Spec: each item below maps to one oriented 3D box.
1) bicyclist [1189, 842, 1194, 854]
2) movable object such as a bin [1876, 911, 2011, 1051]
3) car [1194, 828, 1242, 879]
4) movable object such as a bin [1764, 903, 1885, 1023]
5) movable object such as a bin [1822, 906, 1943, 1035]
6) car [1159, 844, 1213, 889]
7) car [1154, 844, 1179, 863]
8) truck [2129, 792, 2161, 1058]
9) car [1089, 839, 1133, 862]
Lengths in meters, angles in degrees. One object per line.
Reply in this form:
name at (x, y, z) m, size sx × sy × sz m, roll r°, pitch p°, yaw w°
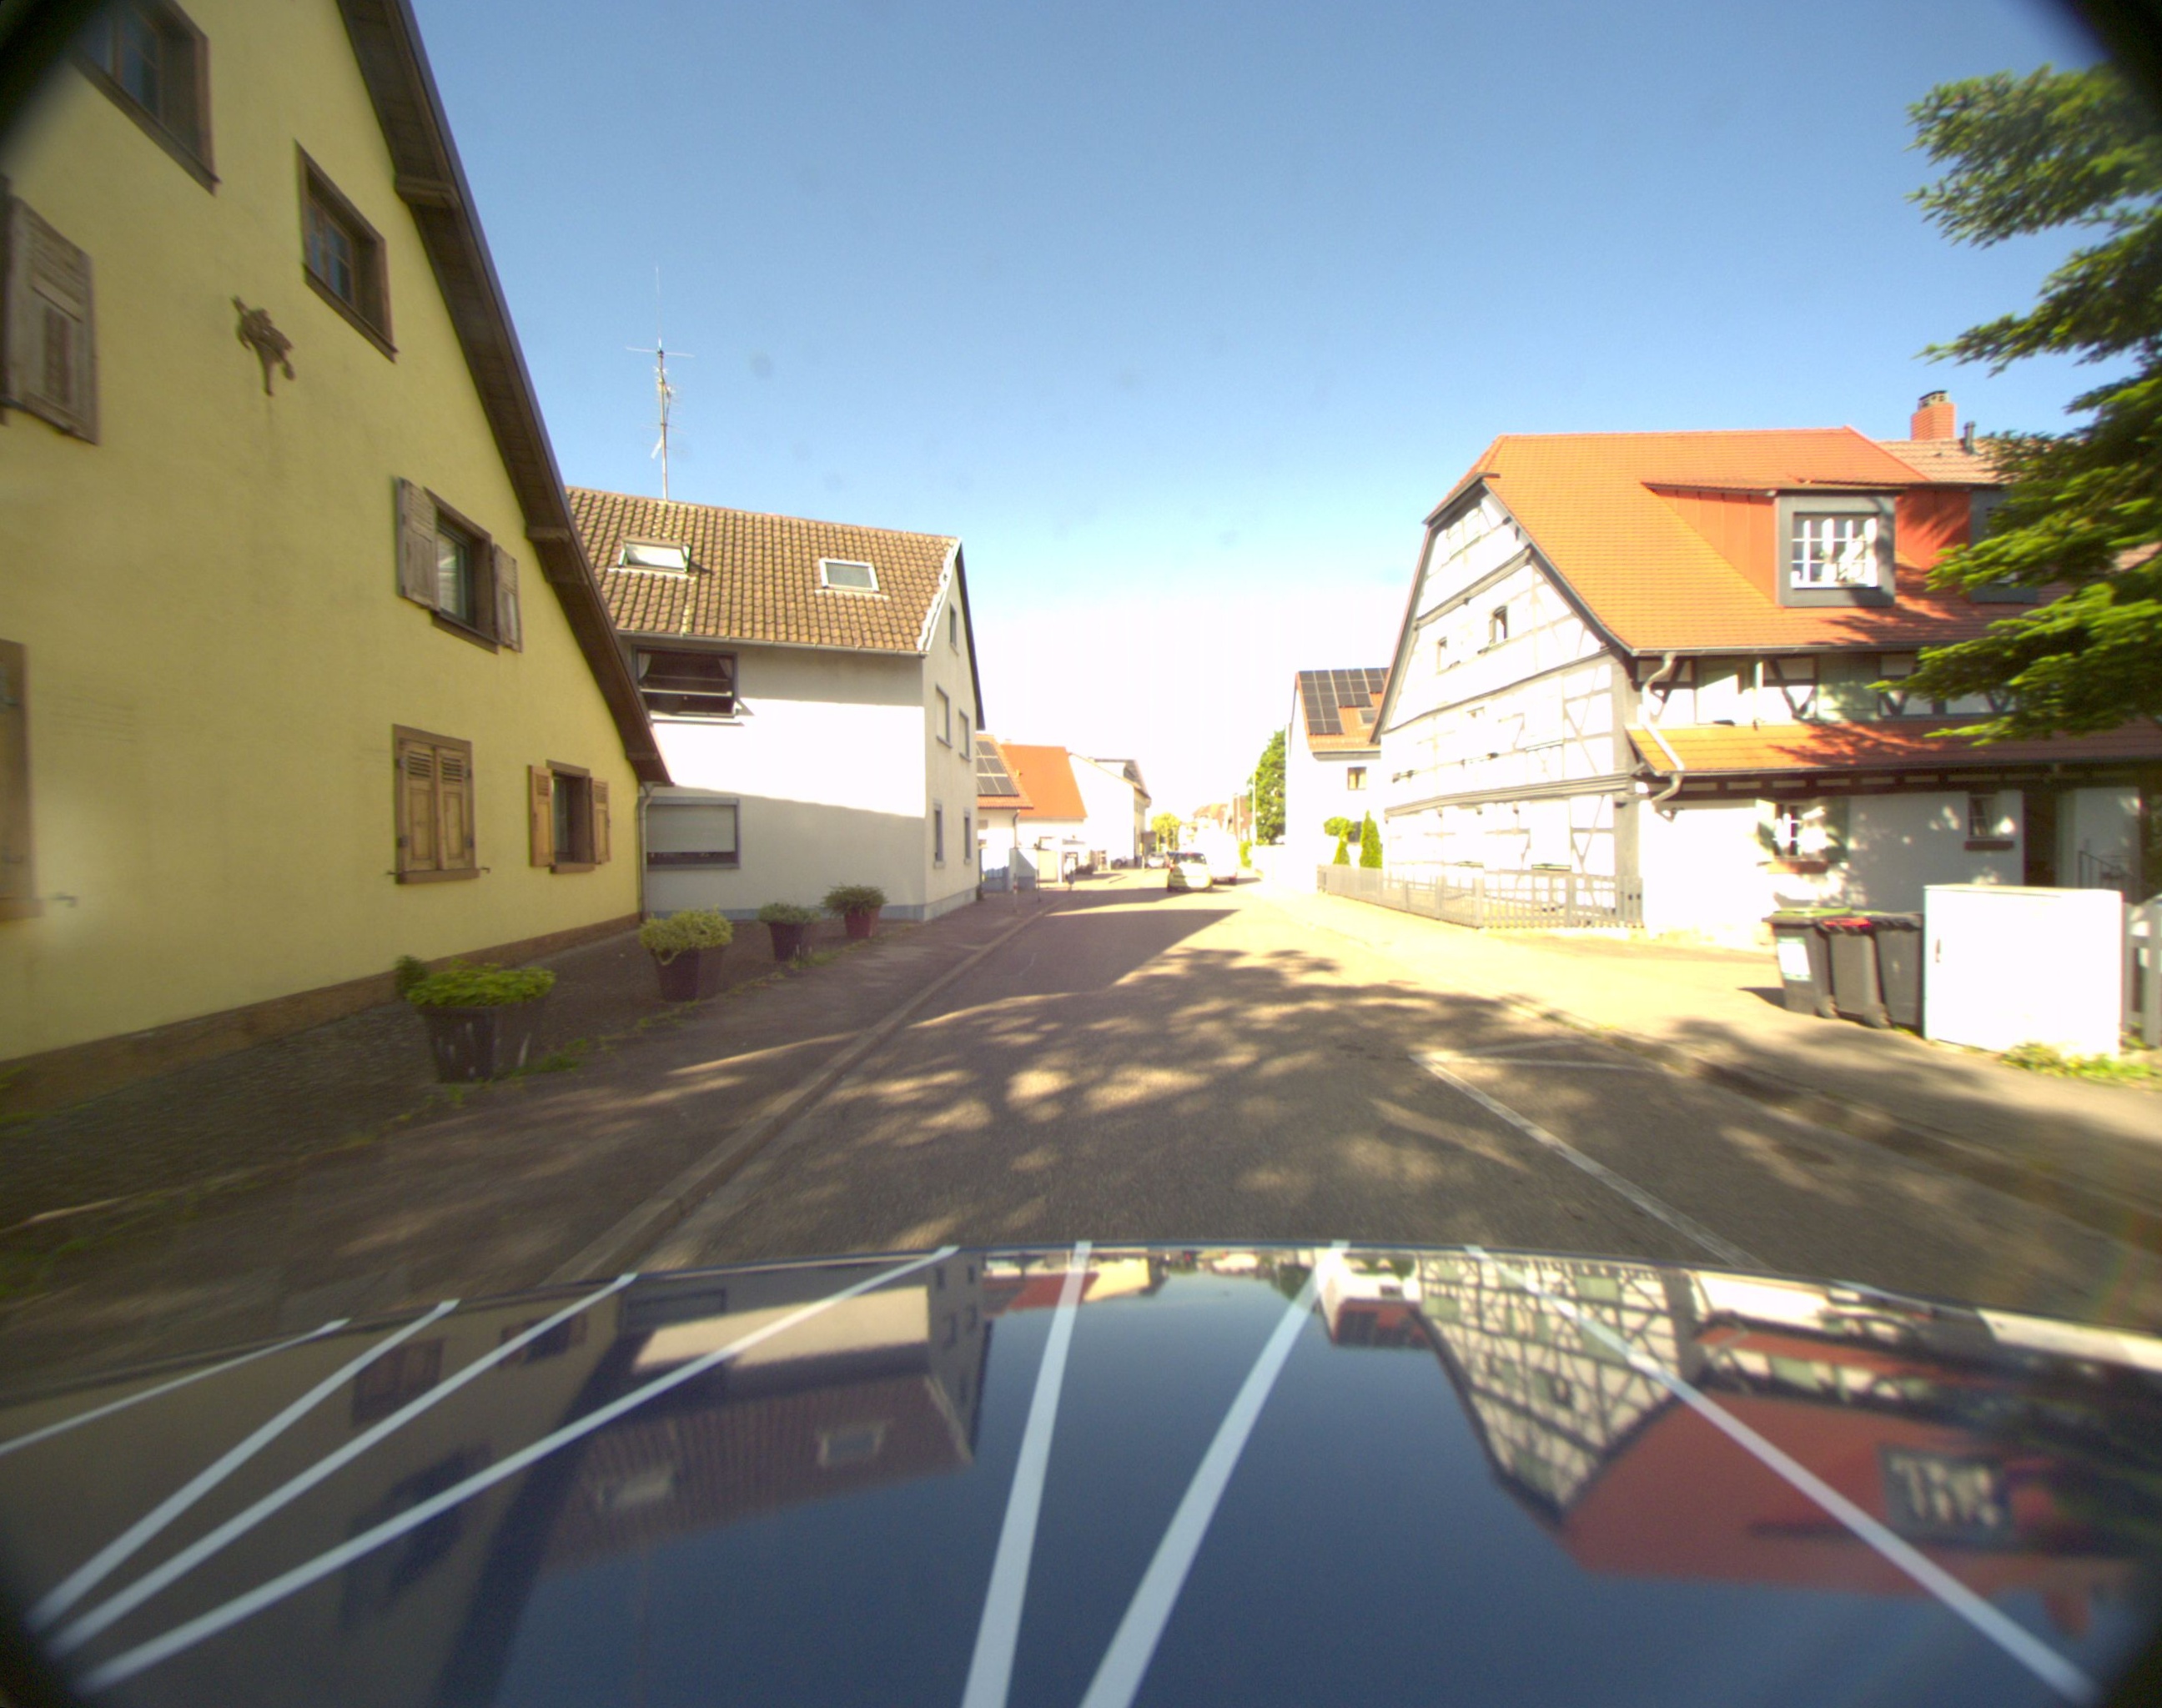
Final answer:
bicyclist at (12.117, -0.647, 83.457) m, size 0.582 × 1.313 × 0.608 m, roll 1°, pitch 1°, yaw 7°
movable object such as a bin at (6.388, 0.920, 5.643) m, size 0.525 × 0.942 × 0.430 m, roll -2°, pitch 1°, yaw -6°
car at (6.377, -0.080, 35.767) m, size 2.059 × 2.233 × 4.862 m, roll 0°, pitch 1°, yaw 9°
movable object such as a bin at (6.402, 0.919, 6.559) m, size 0.525 × 0.942 × 0.519 m, roll -2°, pitch 1°, yaw -6°
movable object such as a bin at (6.406, 0.914, 6.084) m, size 0.525 × 0.942 × 0.430 m, roll -2°, pitch 1°, yaw -6°
car at (4.064, 0.411, 29.044) m, size 1.892 × 1.581 × 4.002 m, roll 0°, pitch 1°, yaw 9°
car at (7.224, -0.053, 64.016) m, size 1.806 × 1.469 × 4.346 m, roll 0°, pitch 2°, yaw 10°
truck at (8.435, 0.481, 3.017) m, size 1.998 × 1.838 × 4.751 m, roll -2°, pitch 1°, yaw 0°
car at (2.825, -0.332, 70.194) m, size 3.996 × 2.002 × 1.842 m, roll 0°, pitch 1°, yaw 3°
